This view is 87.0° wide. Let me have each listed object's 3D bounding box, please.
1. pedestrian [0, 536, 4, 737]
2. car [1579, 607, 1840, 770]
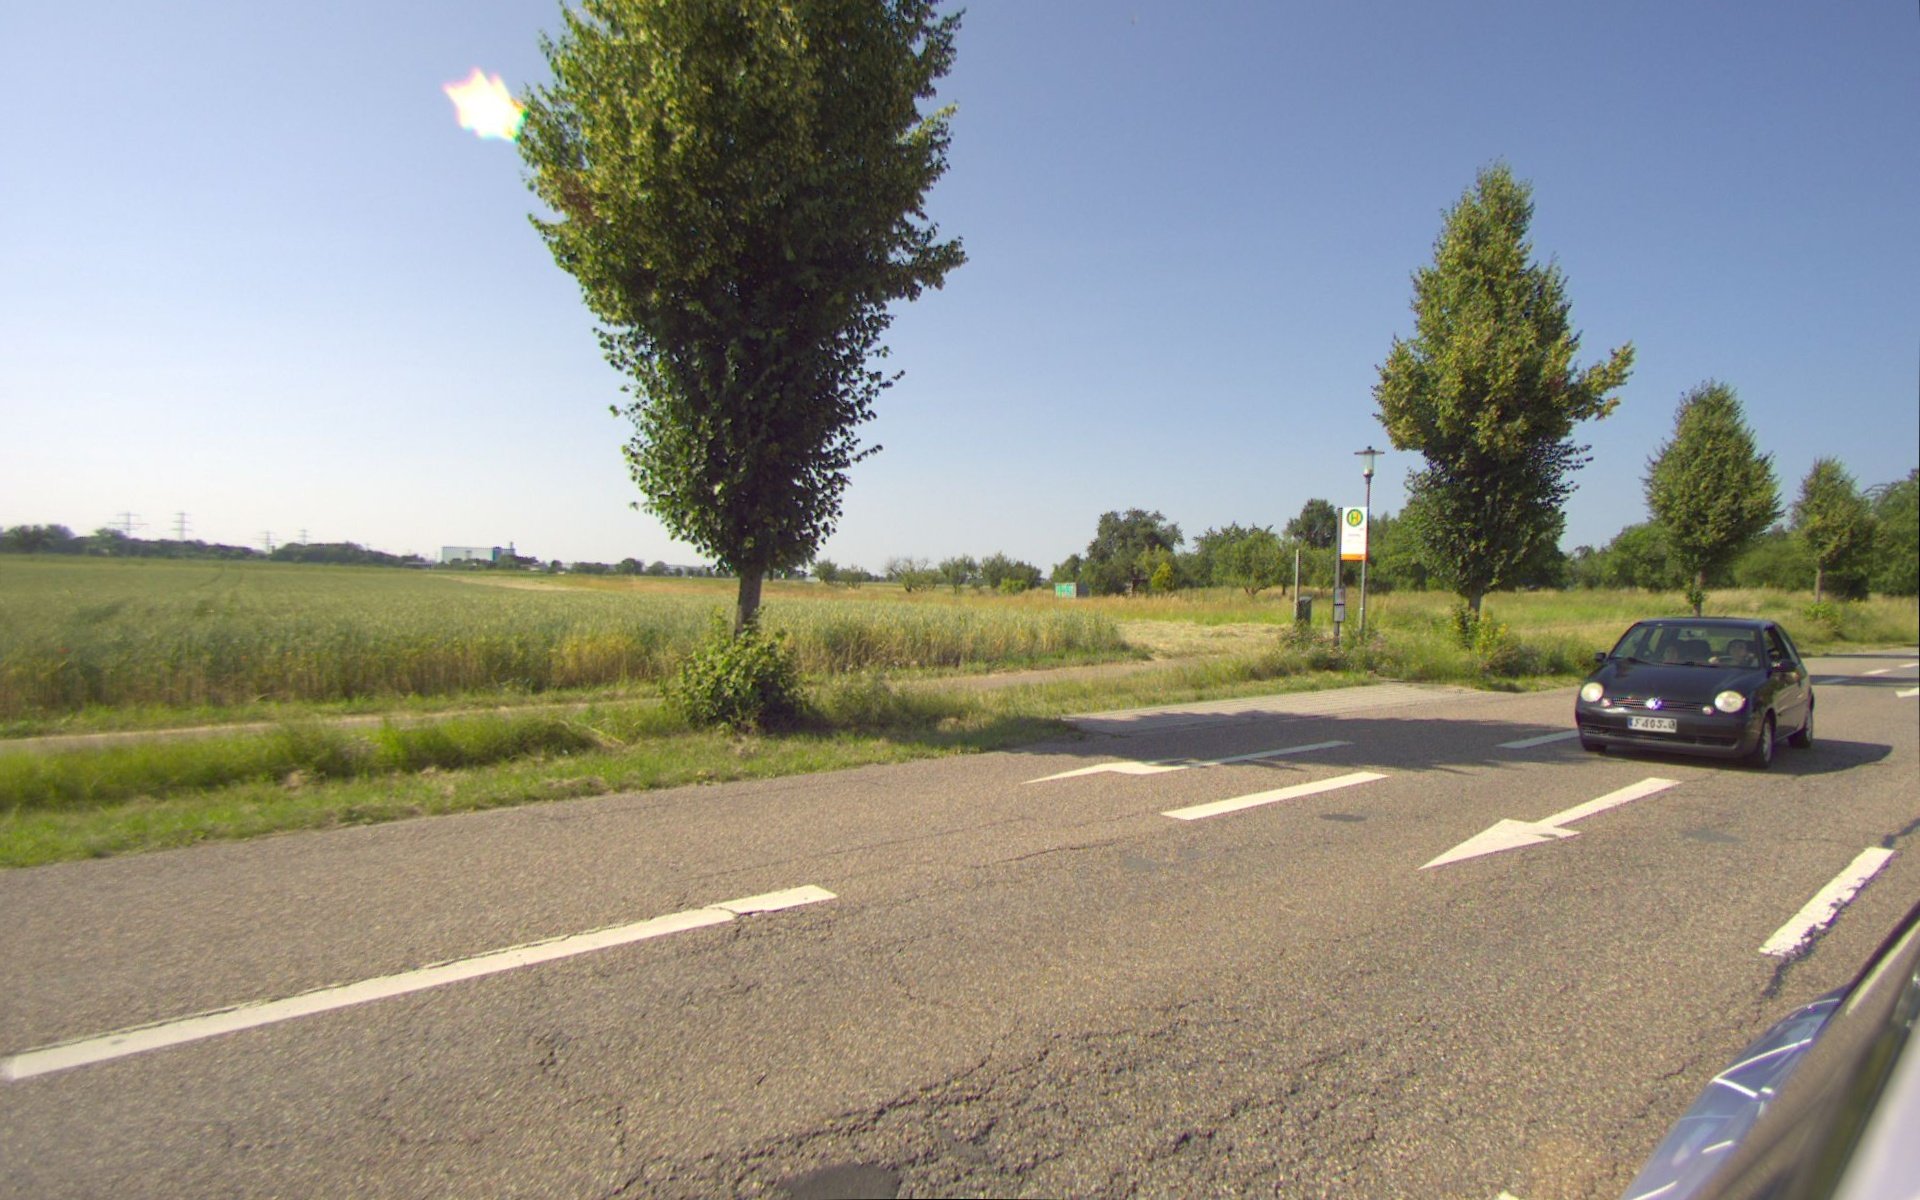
[{"bbox_3d":[-8.566,0.389,8.177,1.174,1.862,0.902,1,0,-43],"label":"pedestrian"},{"bbox_3d":[8.134,0.807,10.884,3.561,1.451,1.627,1,-1,-43],"label":"car"}]
